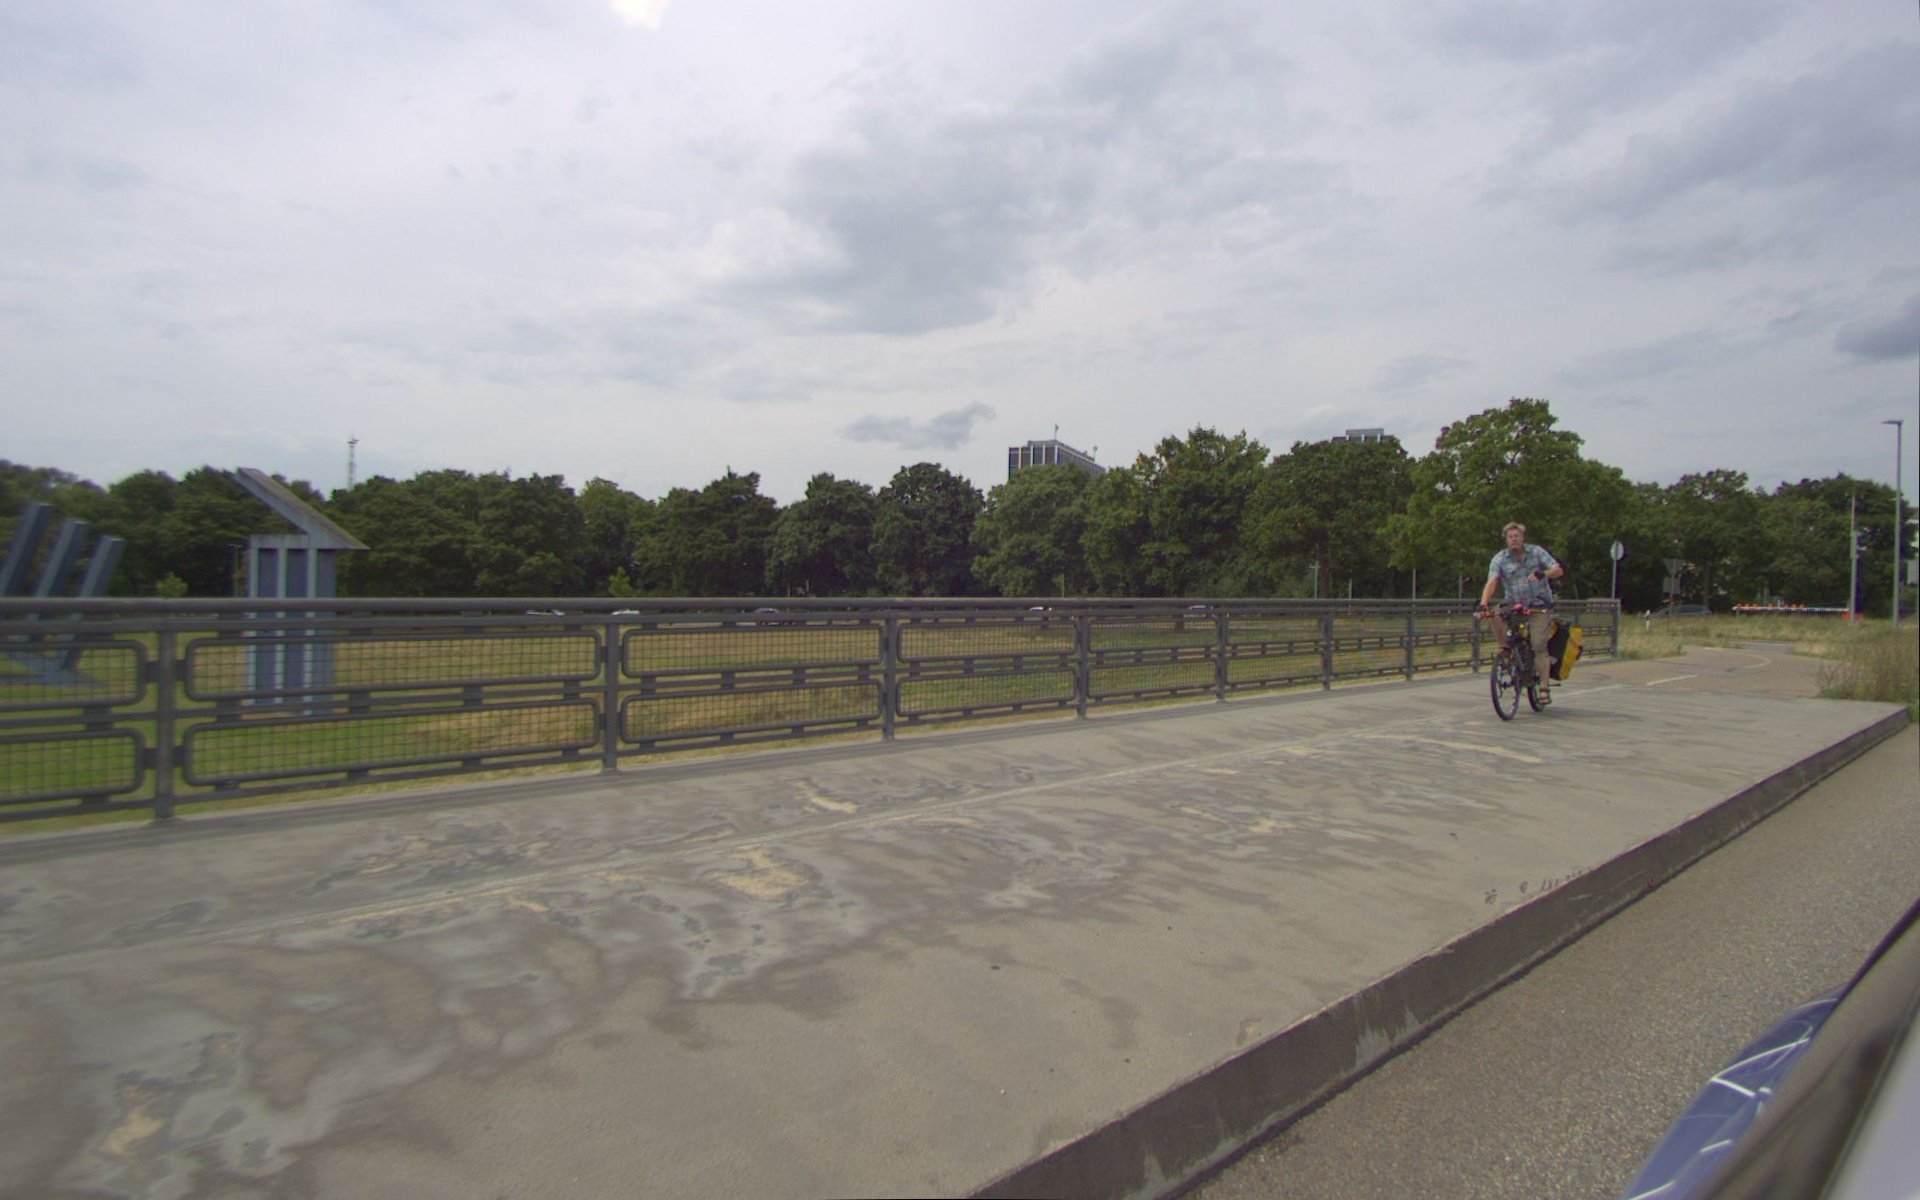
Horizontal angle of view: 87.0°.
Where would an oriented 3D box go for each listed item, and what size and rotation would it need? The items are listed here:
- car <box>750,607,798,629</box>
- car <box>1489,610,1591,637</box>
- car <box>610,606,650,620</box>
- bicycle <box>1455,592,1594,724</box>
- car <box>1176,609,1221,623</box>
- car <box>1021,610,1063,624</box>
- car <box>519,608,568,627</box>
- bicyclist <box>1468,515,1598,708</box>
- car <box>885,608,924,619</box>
[{"bbox_3d":[-18.928,1.824,103.065,4.420,2.039,1.985,1,0,22],"label":"car"},{"bbox_3d":[30.102,1.183,52.629,1.768,1.299,4.244,1,-1,-33],"label":"car"},{"bbox_3d":[-38.388,1.491,117.746,3.948,1.416,1.988,1,0,19],"label":"car"},{"bbox_3d":[5.641,0.515,10.070,0.812,1.154,1.737,2,2,42],"label":"bicycle"},{"bbox_3d":[20.720,1.408,87.920,3.645,1.145,1.665,0,-1,25],"label":"car"},{"bbox_3d":[7.873,1.579,97.166,3.663,1.288,1.657,0,-1,38],"label":"car"},{"bbox_3d":[-45.547,1.902,110.703,4.831,1.825,1.991,1,0,15],"label":"car"},{"bbox_3d":[5.769,0.087,10.187,0.871,1.824,0.942,4,2,42],"label":"bicyclist"},{"bbox_3d":[-5.752,1.402,105.006,3.645,1.145,1.665,0,-1,25],"label":"car"}]
